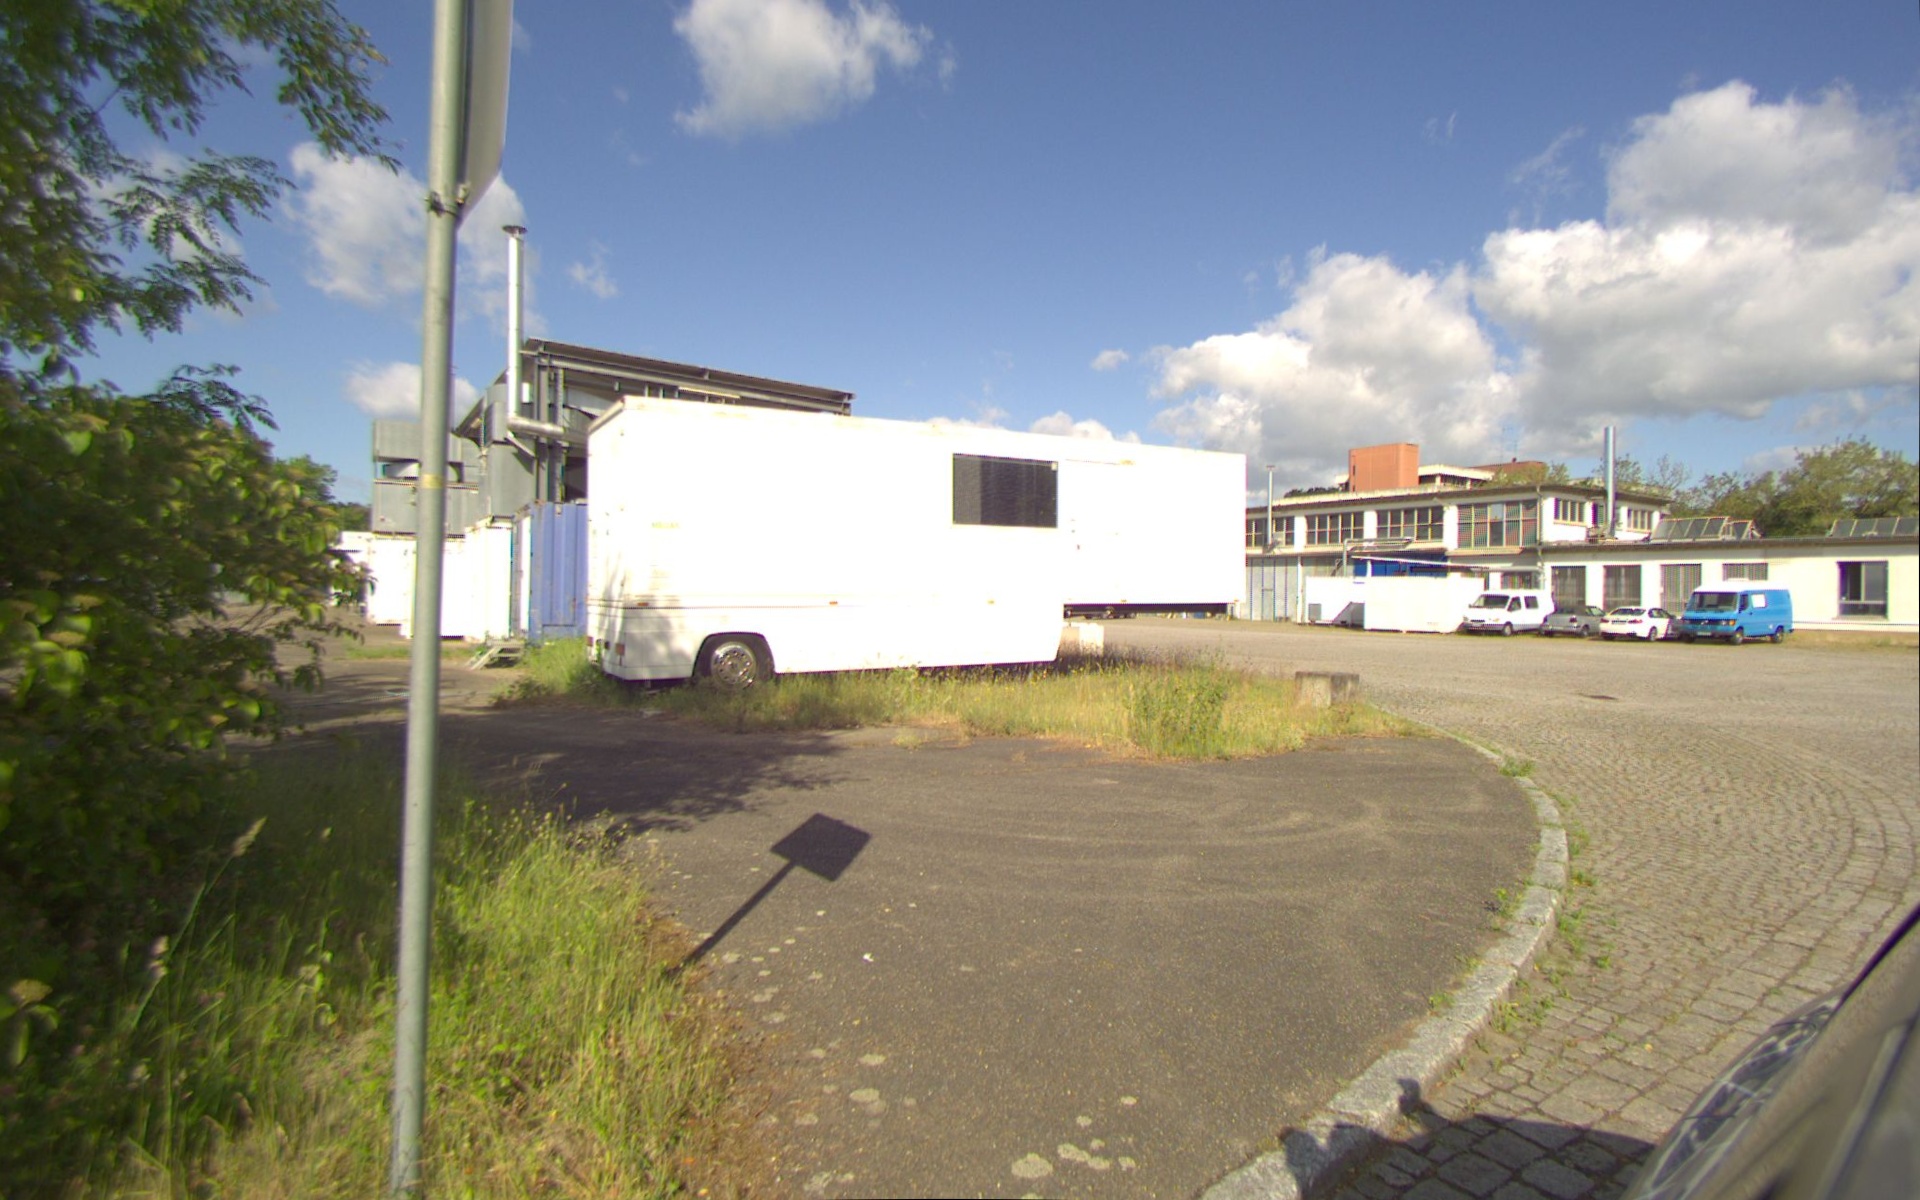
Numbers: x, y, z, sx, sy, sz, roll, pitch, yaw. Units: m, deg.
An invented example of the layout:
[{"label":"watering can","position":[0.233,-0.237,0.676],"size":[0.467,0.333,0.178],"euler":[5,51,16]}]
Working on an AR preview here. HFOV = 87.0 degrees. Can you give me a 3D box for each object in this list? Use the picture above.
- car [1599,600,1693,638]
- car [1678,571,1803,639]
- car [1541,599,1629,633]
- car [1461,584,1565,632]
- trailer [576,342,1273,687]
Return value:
[{"label":"car","position":[28.061,0.744,41.382],"size":[3.664,1.423,1.739],"euler":[-1,0,-30]},{"label":"car","position":[30.510,0.186,39.527],"size":[5.133,2.514,2.092],"euler":[1,0,-30]},{"label":"car","position":[27.361,0.685,44.273],"size":[3.755,1.416,1.694],"euler":[1,1,-30]},{"label":"car","position":[25.382,0.333,46.404],"size":[4.708,2.108,2.012],"euler":[0,0,-30]},{"label":"trailer","position":[-0.012,-0.957,15.560],"size":[10.669,3.960,2.784],"euler":[1,0,-31]}]
